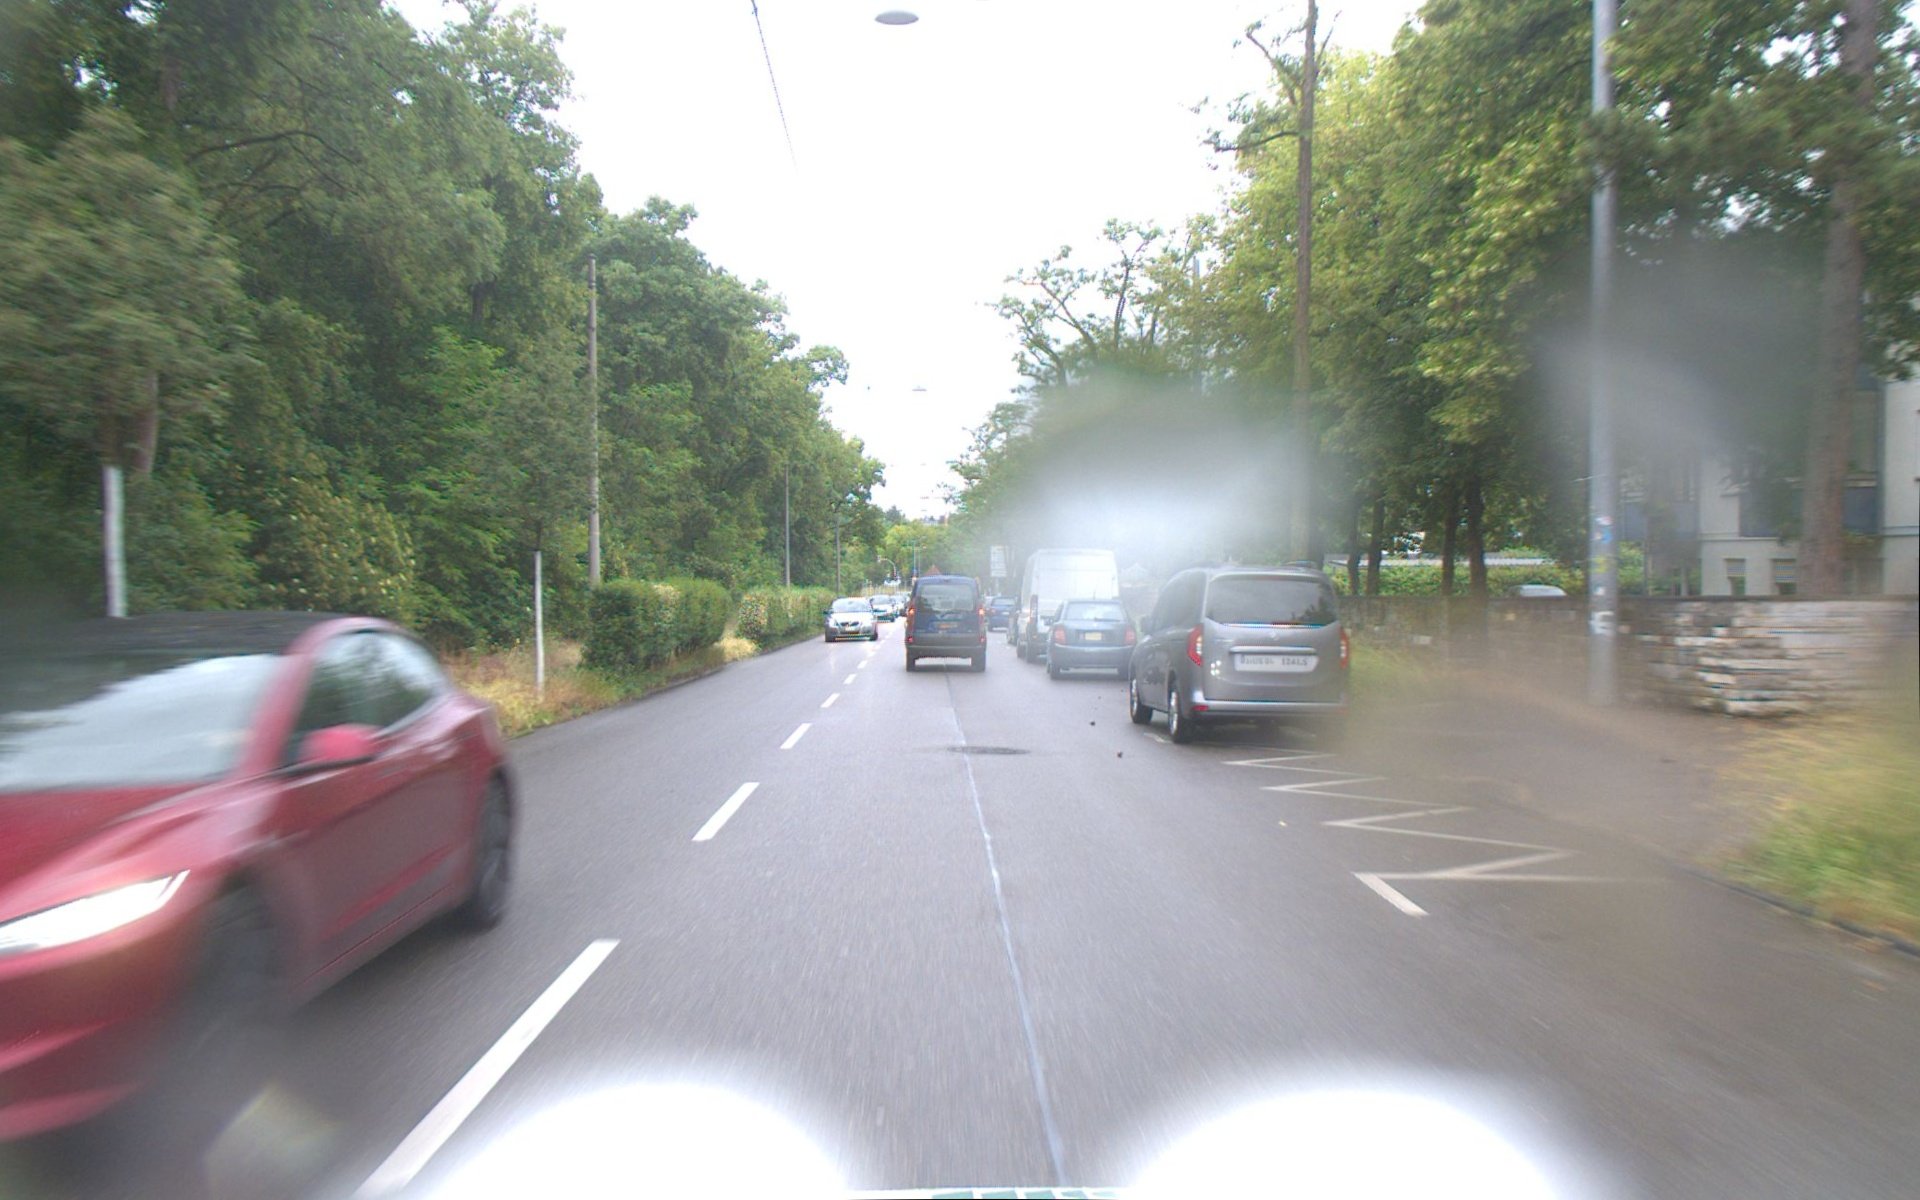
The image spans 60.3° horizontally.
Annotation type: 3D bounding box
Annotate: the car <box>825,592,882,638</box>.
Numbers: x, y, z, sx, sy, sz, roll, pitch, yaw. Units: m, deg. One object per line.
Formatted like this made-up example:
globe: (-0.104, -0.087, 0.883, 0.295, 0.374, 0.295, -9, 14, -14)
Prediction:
car: (-3.624, 0.536, 56.846, 1.747, 1.505, 3.966, -1, -1, -1)

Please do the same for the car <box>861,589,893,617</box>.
car: (-4.845, 0.168, 97.181, 1.695, 1.518, 3.999, -2, 1, -1)

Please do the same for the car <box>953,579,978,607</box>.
car: (0.499, -0.649, 148.964, 2.160, 2.492, 4.728, -1, 0, -1)

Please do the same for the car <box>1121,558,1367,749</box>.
car: (2.997, 0.487, 18.350, 1.778, 1.845, 4.281, 1, 1, -3)

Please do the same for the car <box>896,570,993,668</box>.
car: (-0.366, 0.329, 33.653, 1.732, 1.862, 3.539, 1, 1, -4)

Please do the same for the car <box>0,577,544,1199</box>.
car: (-2.907, 0.714, 5.863, 1.822, 1.506, 4.156, -1, 0, -1)

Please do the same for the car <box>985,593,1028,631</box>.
car: (1.999, 0.499, 71.955, 1.686, 1.532, 4.050, 1, 1, -1)

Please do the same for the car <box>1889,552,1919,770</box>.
car: (9.604, 0.364, 12.283, 4.222, 1.711, 2.000, -3, 0, -1)

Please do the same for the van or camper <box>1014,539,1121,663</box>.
van or camper: (2.458, -0.025, 39.042, 2.036, 2.697, 5.345, 1, 1, -1)

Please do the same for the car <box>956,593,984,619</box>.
car: (0.590, 0.363, 101.004, 1.600, 1.536, 2.956, 1, 1, -2)

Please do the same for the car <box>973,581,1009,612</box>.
car: (1.563, -0.192, 84.772, 1.586, 1.534, 3.833, 1, 1, -3)

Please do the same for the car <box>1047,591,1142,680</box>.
car: (2.476, 0.618, 31.171, 1.592, 1.489, 3.809, 1, 1, 2)
